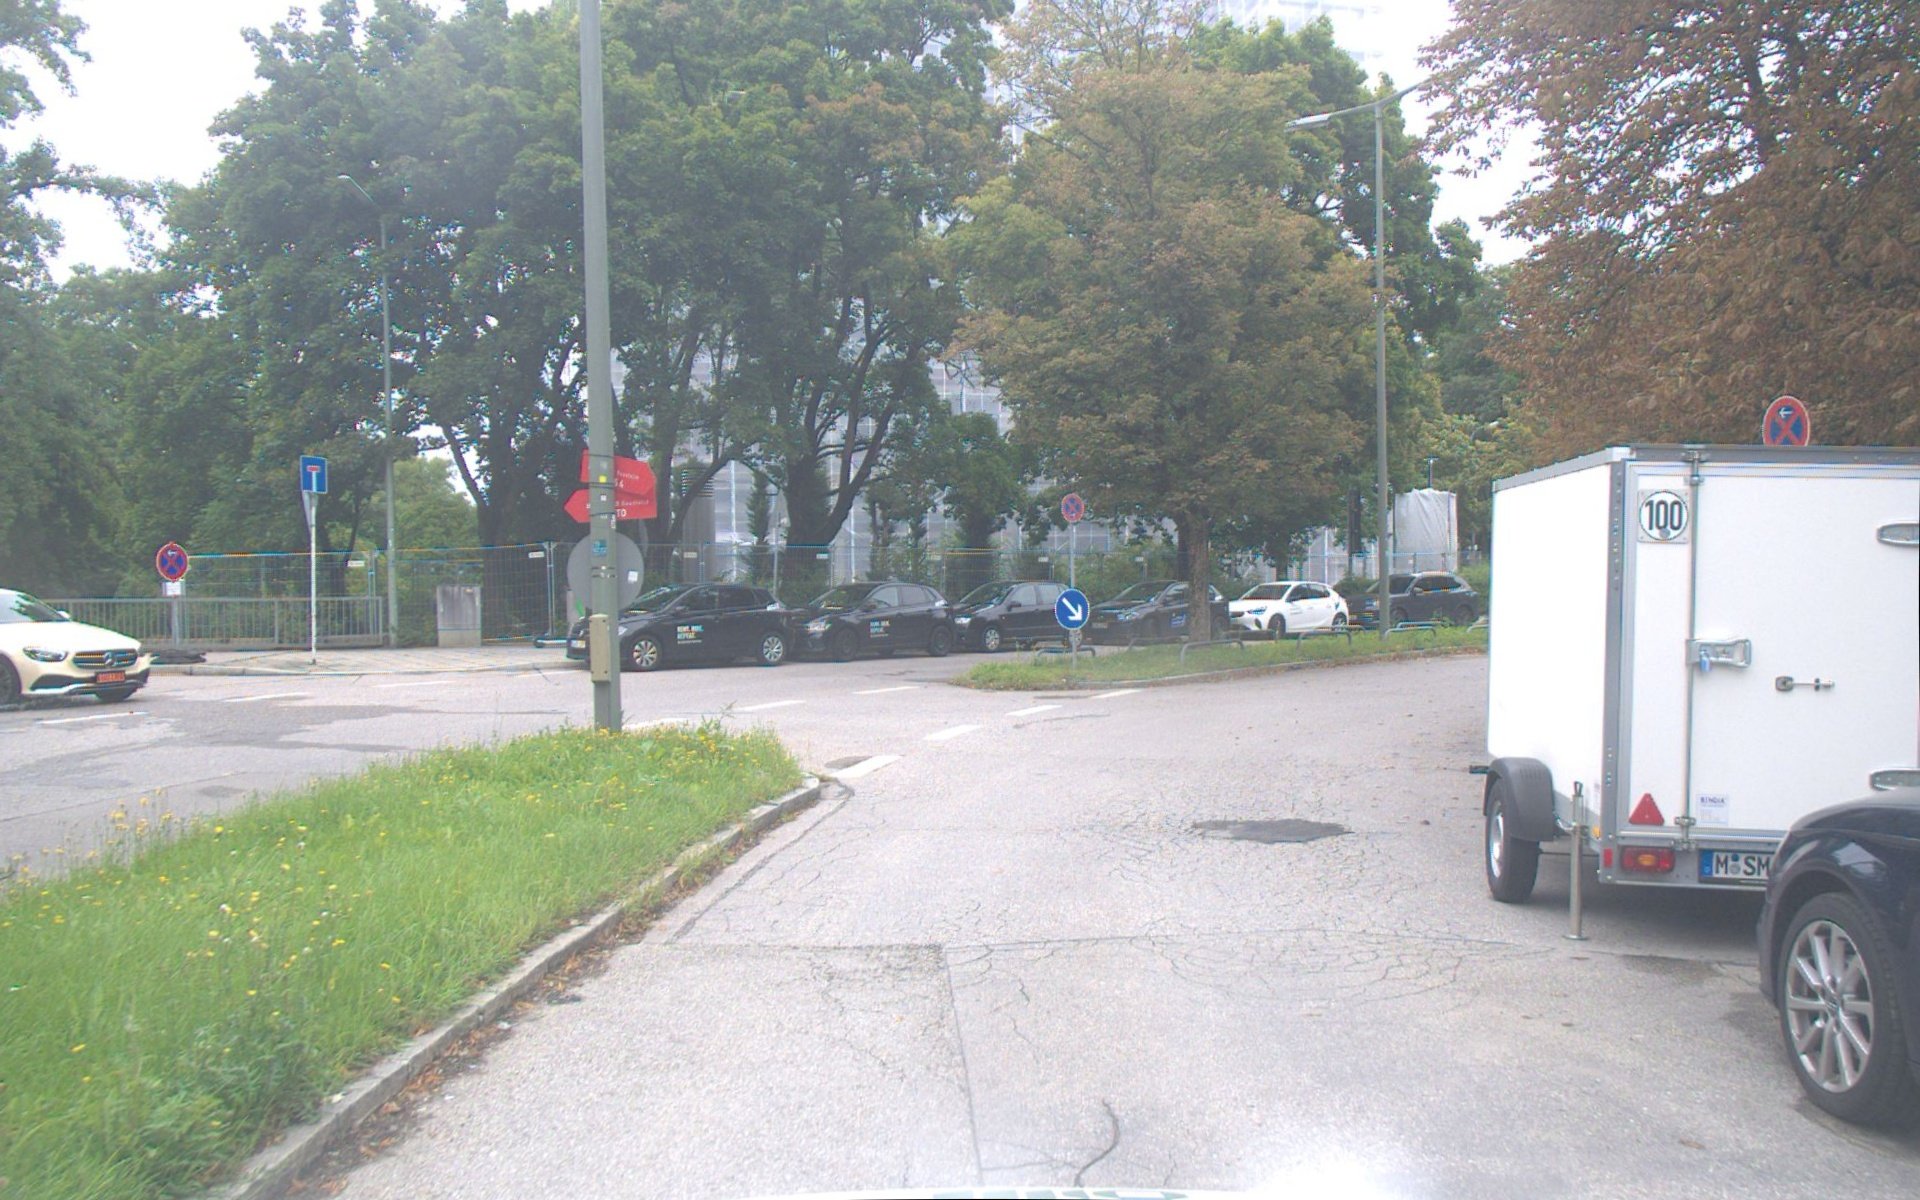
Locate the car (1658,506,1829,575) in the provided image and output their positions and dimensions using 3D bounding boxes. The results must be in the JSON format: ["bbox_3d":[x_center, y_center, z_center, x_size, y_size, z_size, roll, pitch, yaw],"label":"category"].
[{"bbox_3d":[42.551,-3.175,90.144,3.042,3.509,8.661,-1,1,-22],"label":"car"}]

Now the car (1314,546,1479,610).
[{"bbox_3d":[11.650,-0.549,44.059,4.342,1.634,1.870,0,-1,-33],"label":"car"}]

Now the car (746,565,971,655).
[{"bbox_3d":[-1.888,0.152,31.464,3.970,1.568,1.968,-2,1,-44],"label":"car"}]

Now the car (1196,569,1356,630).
[{"bbox_3d":[7.949,-0.024,41.432,4.182,1.408,1.774,-2,0,-42],"label":"car"}]

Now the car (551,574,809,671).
[{"bbox_3d":[-4.776,0.328,28.532,4.011,1.457,1.968,-2,3,-44],"label":"car"}]

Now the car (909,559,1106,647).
[{"bbox_3d":[1.038,0.025,34.915,3.970,1.735,1.967,-2,0,-44],"label":"car"}]

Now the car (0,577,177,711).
[{"bbox_3d":[-12.629,0.527,21.192,4.737,1.572,1.895,-1,1,20],"label":"car"}]

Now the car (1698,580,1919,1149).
[{"bbox_3d":[3.428,0.696,3.376,1.834,1.462,4.328,-2,1,-1],"label":"car"}]

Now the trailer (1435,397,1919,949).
[{"bbox_3d":[3.671,0.252,8.564,1.770,2.049,4.838,-1,0,10],"label":"trailer"}]

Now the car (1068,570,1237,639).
[{"bbox_3d":[4.488,0.074,38.236,3.976,1.486,1.810,-2,0,-44],"label":"car"}]
